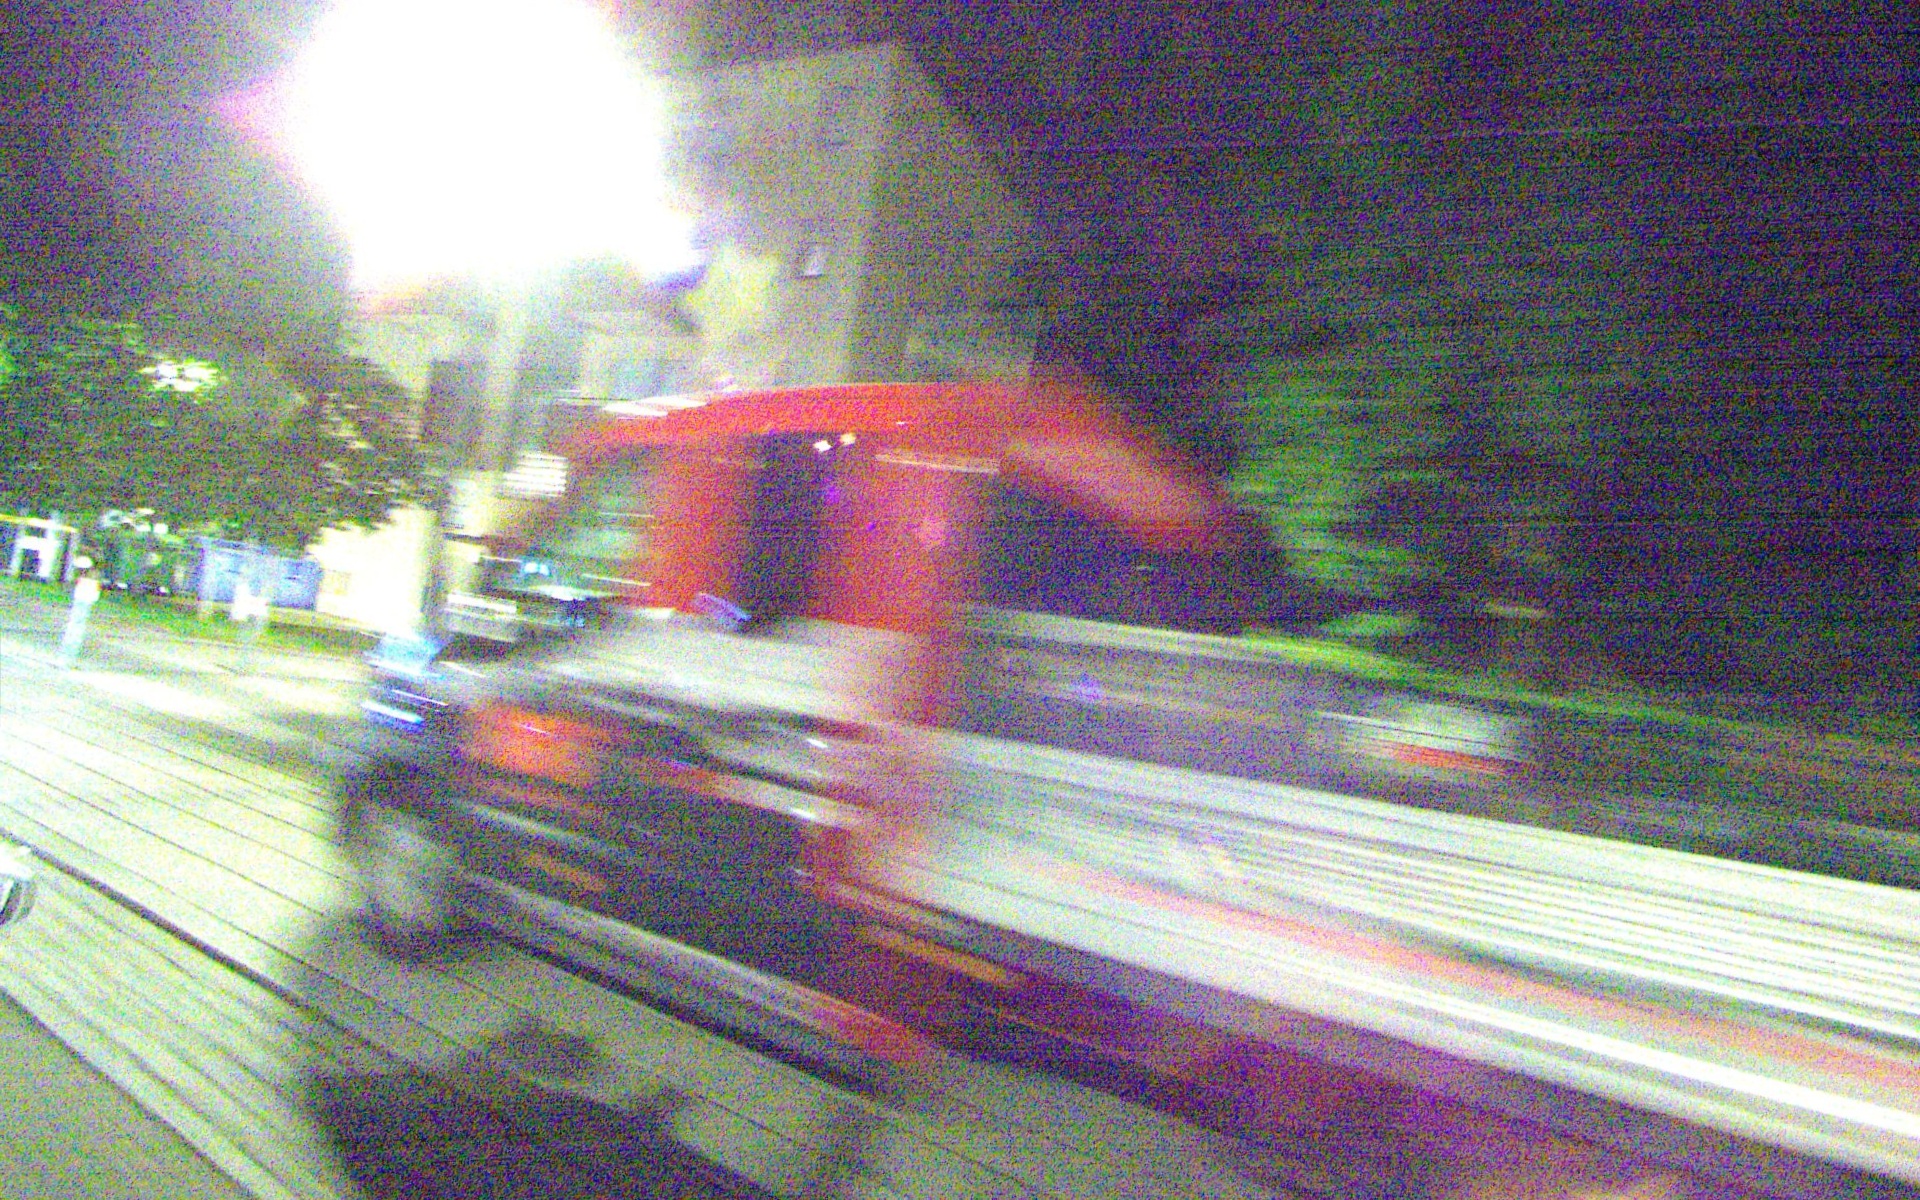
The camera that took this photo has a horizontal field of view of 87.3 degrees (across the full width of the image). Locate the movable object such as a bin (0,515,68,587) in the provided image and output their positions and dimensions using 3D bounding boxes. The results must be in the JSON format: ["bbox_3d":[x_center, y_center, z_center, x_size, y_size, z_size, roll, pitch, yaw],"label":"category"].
[{"bbox_3d":[-19.995,-1.057,21.370,0.992,1.320,1.109,7,-4,25],"label":"movable object such as a bin"}]

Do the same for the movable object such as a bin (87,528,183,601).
[{"bbox_3d":[-19.129,-0.811,23.345,1.098,1.435,1.265,7,-2,28],"label":"movable object such as a bin"}]

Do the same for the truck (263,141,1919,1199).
[{"bbox_3d":[0.409,0.415,3.471,5.685,2.337,2.342,7,-3,32],"label":"truck"}]
